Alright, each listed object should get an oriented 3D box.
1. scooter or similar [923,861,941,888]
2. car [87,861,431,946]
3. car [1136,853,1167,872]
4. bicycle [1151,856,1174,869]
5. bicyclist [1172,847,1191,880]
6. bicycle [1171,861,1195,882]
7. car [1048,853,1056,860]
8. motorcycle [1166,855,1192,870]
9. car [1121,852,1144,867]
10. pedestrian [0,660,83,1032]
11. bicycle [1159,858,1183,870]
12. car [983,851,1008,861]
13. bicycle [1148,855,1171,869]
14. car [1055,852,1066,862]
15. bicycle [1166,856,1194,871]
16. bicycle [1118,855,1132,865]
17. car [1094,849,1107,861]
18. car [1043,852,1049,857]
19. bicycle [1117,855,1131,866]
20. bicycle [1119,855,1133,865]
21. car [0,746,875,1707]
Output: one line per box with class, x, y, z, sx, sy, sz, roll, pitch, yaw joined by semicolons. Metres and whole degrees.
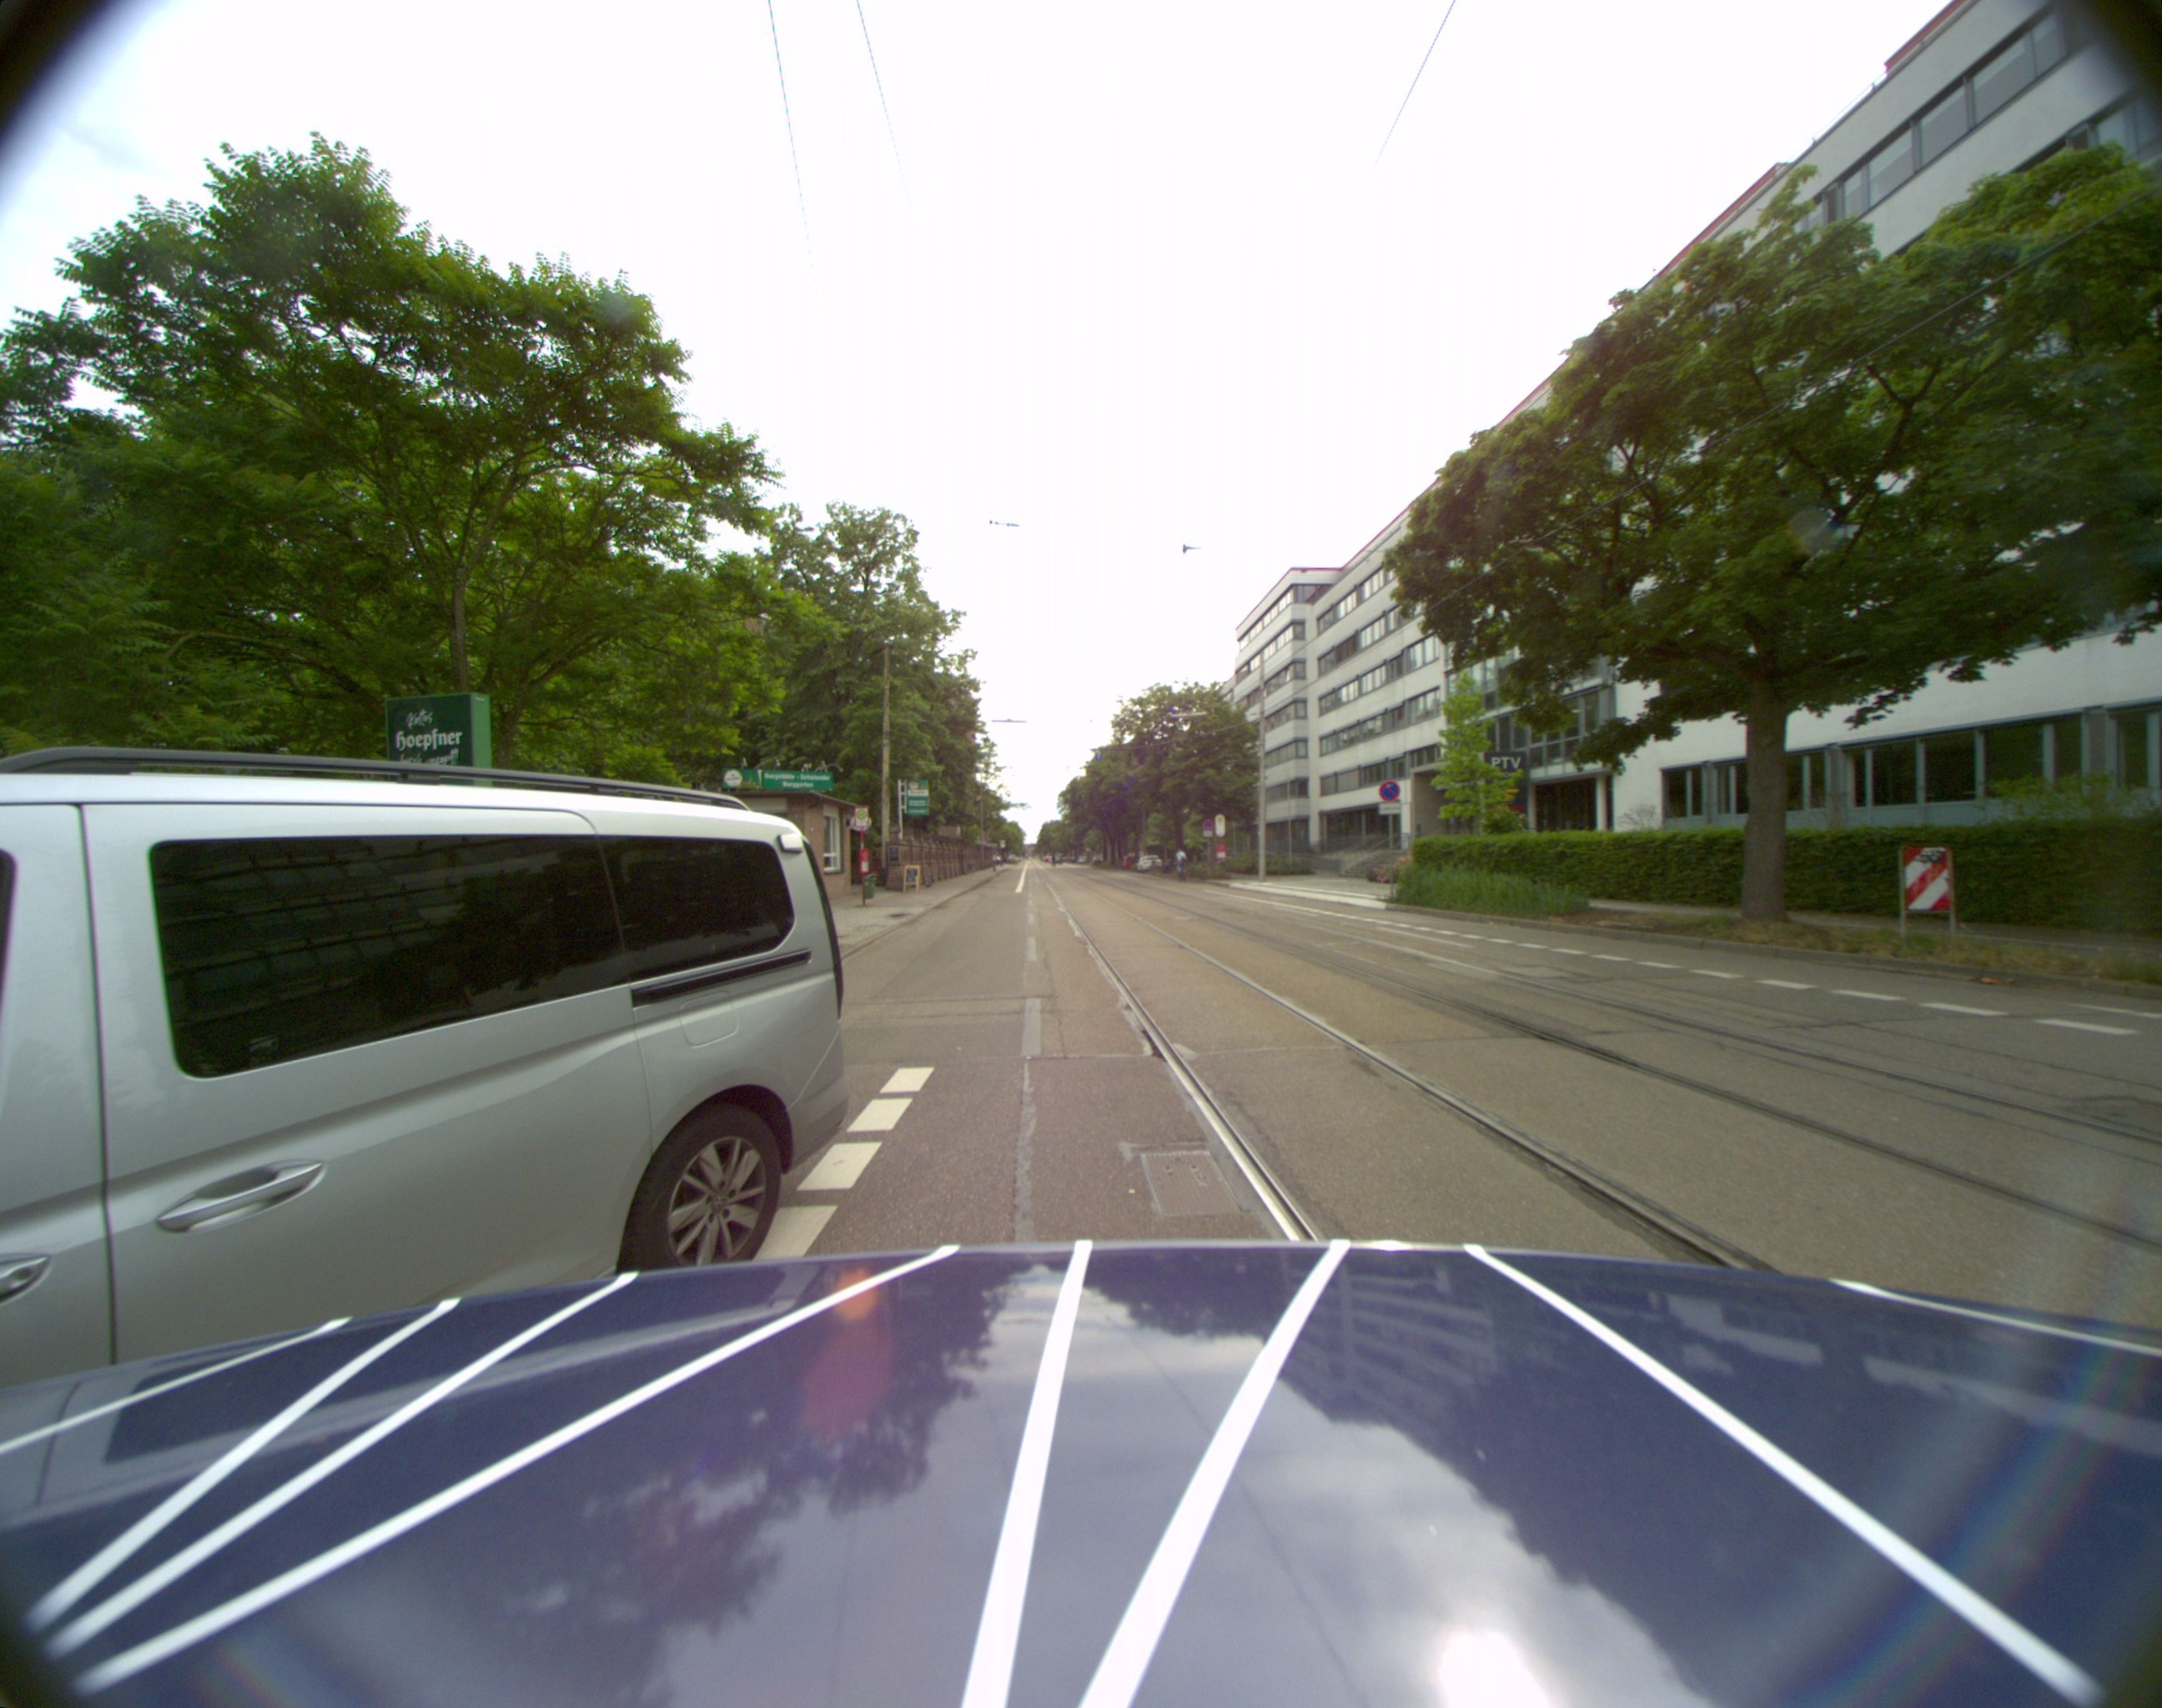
scooter or similar;-7.156;0.976;36.522;0.578;1.232;1.409;2;1;-3
car;-16.377;0.891;15.400;1.980;1.450;4.501;-1;-1;35
car;6.064;0.682;65.892;1.886;1.485;4.751;-3;0;-4
bicycle;6.607;0.681;61.598;1.812;1.094;0.631;0;1;-10
bicyclist;5.436;0.517;41.081;0.738;1.739;0.977;-1;1;-14
bicycle;5.480;0.945;40.921;0.589;1.067;1.954;-1;1;-14
car;-6.964;0.600;179.468;1.708;1.521;3.740;-2;1;-5
motorcycle;7.432;0.621;57.762;1.794;1.044;0.732;-2;1;-11
car;5.376;0.564;79.021;1.633;1.439;3.754;-4;1;-7
pedestrian;-5.486;-0.042;3.372;0.976;1.728;0.859;0;1;-26
bicycle;7.012;0.774;59.229;1.812;0.894;0.631;0;1;-10
car;-15.596;0.367;138.383;3.994;1.608;2.001;2;1;8
bicycle;6.455;0.638;62.751;1.869;1.180;0.632;0;1;1
car;-3.910;0.594;144.602;1.832;1.727;4.333;-1;1;-3
bicycle;7.216;0.716;55.400;1.835;1.047;0.741;-1;0;-12
bicycle;5.060;0.688;87.232;1.473;1.134;0.617;-3;1;-5
car;2.961;0.157;116.637;1.815;1.699;3.999;-3;1;0
car;-11.044;0.279;240.705;1.746;1.490;4.259;-1;0;-5
bicycle;4.872;0.732;85.709;1.475;1.085;0.616;-3;1;-16
bicycle;5.140;0.692;86.731;1.473;1.134;0.617;-1;1;-5
car;-2.604;0.737;1.444;1.848;1.797;4.943;-1;0;18
